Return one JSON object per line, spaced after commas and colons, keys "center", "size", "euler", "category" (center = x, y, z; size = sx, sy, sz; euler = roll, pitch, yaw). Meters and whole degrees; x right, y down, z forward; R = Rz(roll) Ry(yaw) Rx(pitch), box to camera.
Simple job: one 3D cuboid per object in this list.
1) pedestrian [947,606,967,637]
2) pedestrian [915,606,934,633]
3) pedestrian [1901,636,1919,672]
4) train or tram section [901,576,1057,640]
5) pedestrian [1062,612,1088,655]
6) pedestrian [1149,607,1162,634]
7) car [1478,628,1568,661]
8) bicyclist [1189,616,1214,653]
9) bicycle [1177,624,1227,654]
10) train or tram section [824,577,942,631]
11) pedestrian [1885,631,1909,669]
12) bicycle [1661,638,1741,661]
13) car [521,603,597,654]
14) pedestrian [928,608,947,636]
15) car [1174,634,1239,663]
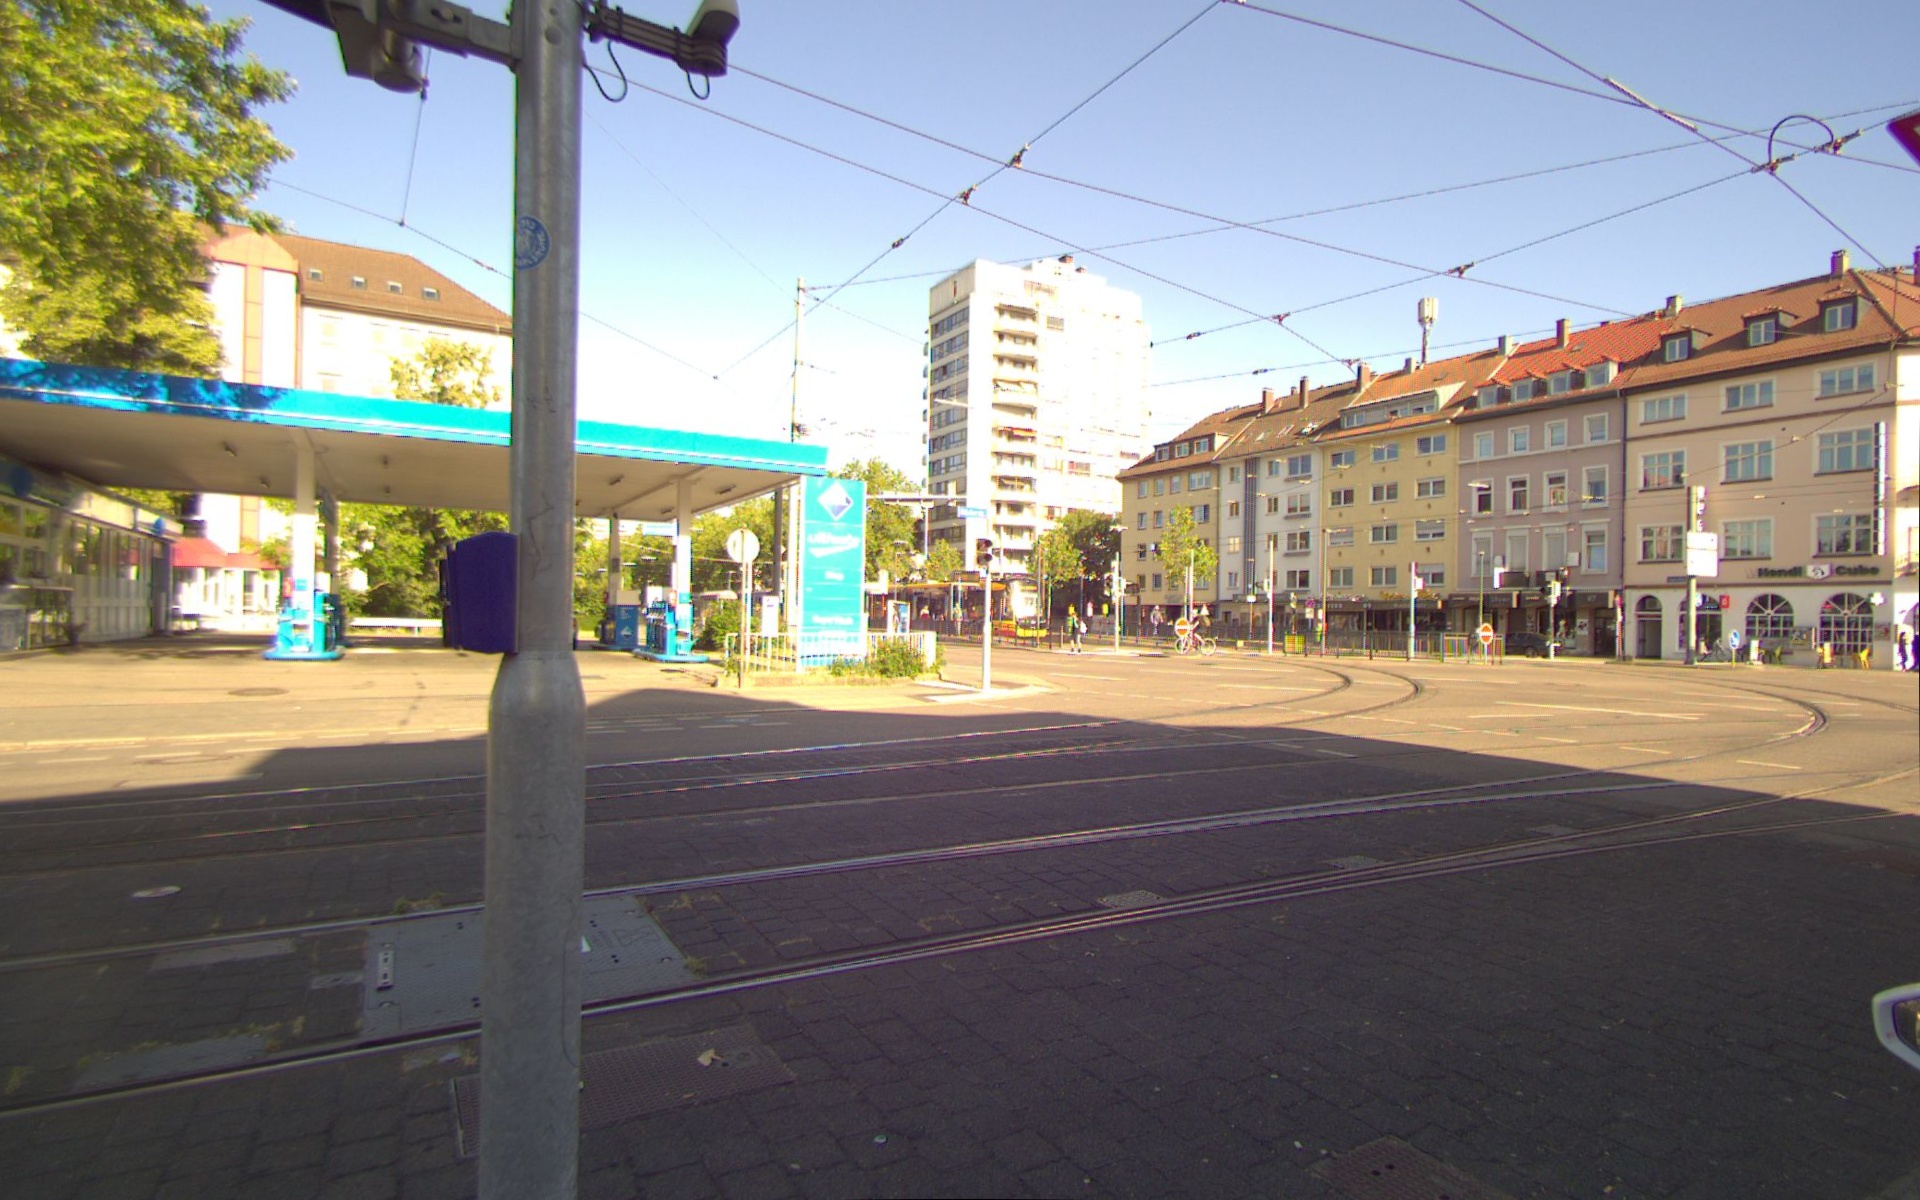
{"center": [-0.145, 1.158, 53.595], "size": [0.814, 1.608, 0.699], "euler": [1, -1, -33], "category": "pedestrian"}
{"center": [-1.988, 1.086, 56.718], "size": [0.814, 1.532, 0.699], "euler": [1, -1, -33], "category": "pedestrian"}
{"center": [40.315, 2.273, 42.473], "size": [0.460, 1.496, 0.629], "euler": [2, 0, -33], "category": "pedestrian"}
{"center": [0.738, 0.359, 57.548], "size": [2.751, 3.273, 12.286], "euler": [2, 0, -31], "category": "train or tram section"}
{"center": [4.556, 1.314, 39.820], "size": [0.675, 1.656, 0.694], "euler": [2, 0, -35], "category": "pedestrian"}
{"center": [12.311, 1.290, 63.356], "size": [0.570, 1.649, 0.522], "euler": [2, 0, -31], "category": "pedestrian"}
{"center": [30.857, 2.414, 55.137], "size": [1.970, 1.692, 3.981], "euler": [1, -1, -21], "category": "car"}
{"center": [9.293, 1.308, 38.704], "size": [0.787, 1.384, 0.560], "euler": [2, 0, 2], "category": "bicyclist"}
{"center": [9.326, 1.503, 38.742], "size": [1.759, 1.084, 0.575], "euler": [2, 0, 1], "category": "bicycle"}
{"center": [-5.506, 0.195, 68.031], "size": [2.751, 3.273, 12.286], "euler": [2, 0, -31], "category": "train or tram section"}
{"center": [40.689, 2.174, 43.622], "size": [0.460, 1.633, 0.629], "euler": [2, 0, -33], "category": "pedestrian"}
{"center": [37.501, 2.489, 50.893], "size": [0.989, 0.993, 3.115], "euler": [2, 0, -29], "category": "bicycle"}
{"center": [-12.108, 0.828, 30.238], "size": [1.764, 1.411, 3.455], "euler": [2, 0, -28], "category": "car"}
{"center": [-1.226, 1.201, 55.124], "size": [0.814, 1.532, 0.699], "euler": [1, -1, -33], "category": "pedestrian"}
{"center": [16.021, 3.162, 65.478], "size": [1.928, 1.639, 4.151], "euler": [2, 0, -26], "category": "car"}
